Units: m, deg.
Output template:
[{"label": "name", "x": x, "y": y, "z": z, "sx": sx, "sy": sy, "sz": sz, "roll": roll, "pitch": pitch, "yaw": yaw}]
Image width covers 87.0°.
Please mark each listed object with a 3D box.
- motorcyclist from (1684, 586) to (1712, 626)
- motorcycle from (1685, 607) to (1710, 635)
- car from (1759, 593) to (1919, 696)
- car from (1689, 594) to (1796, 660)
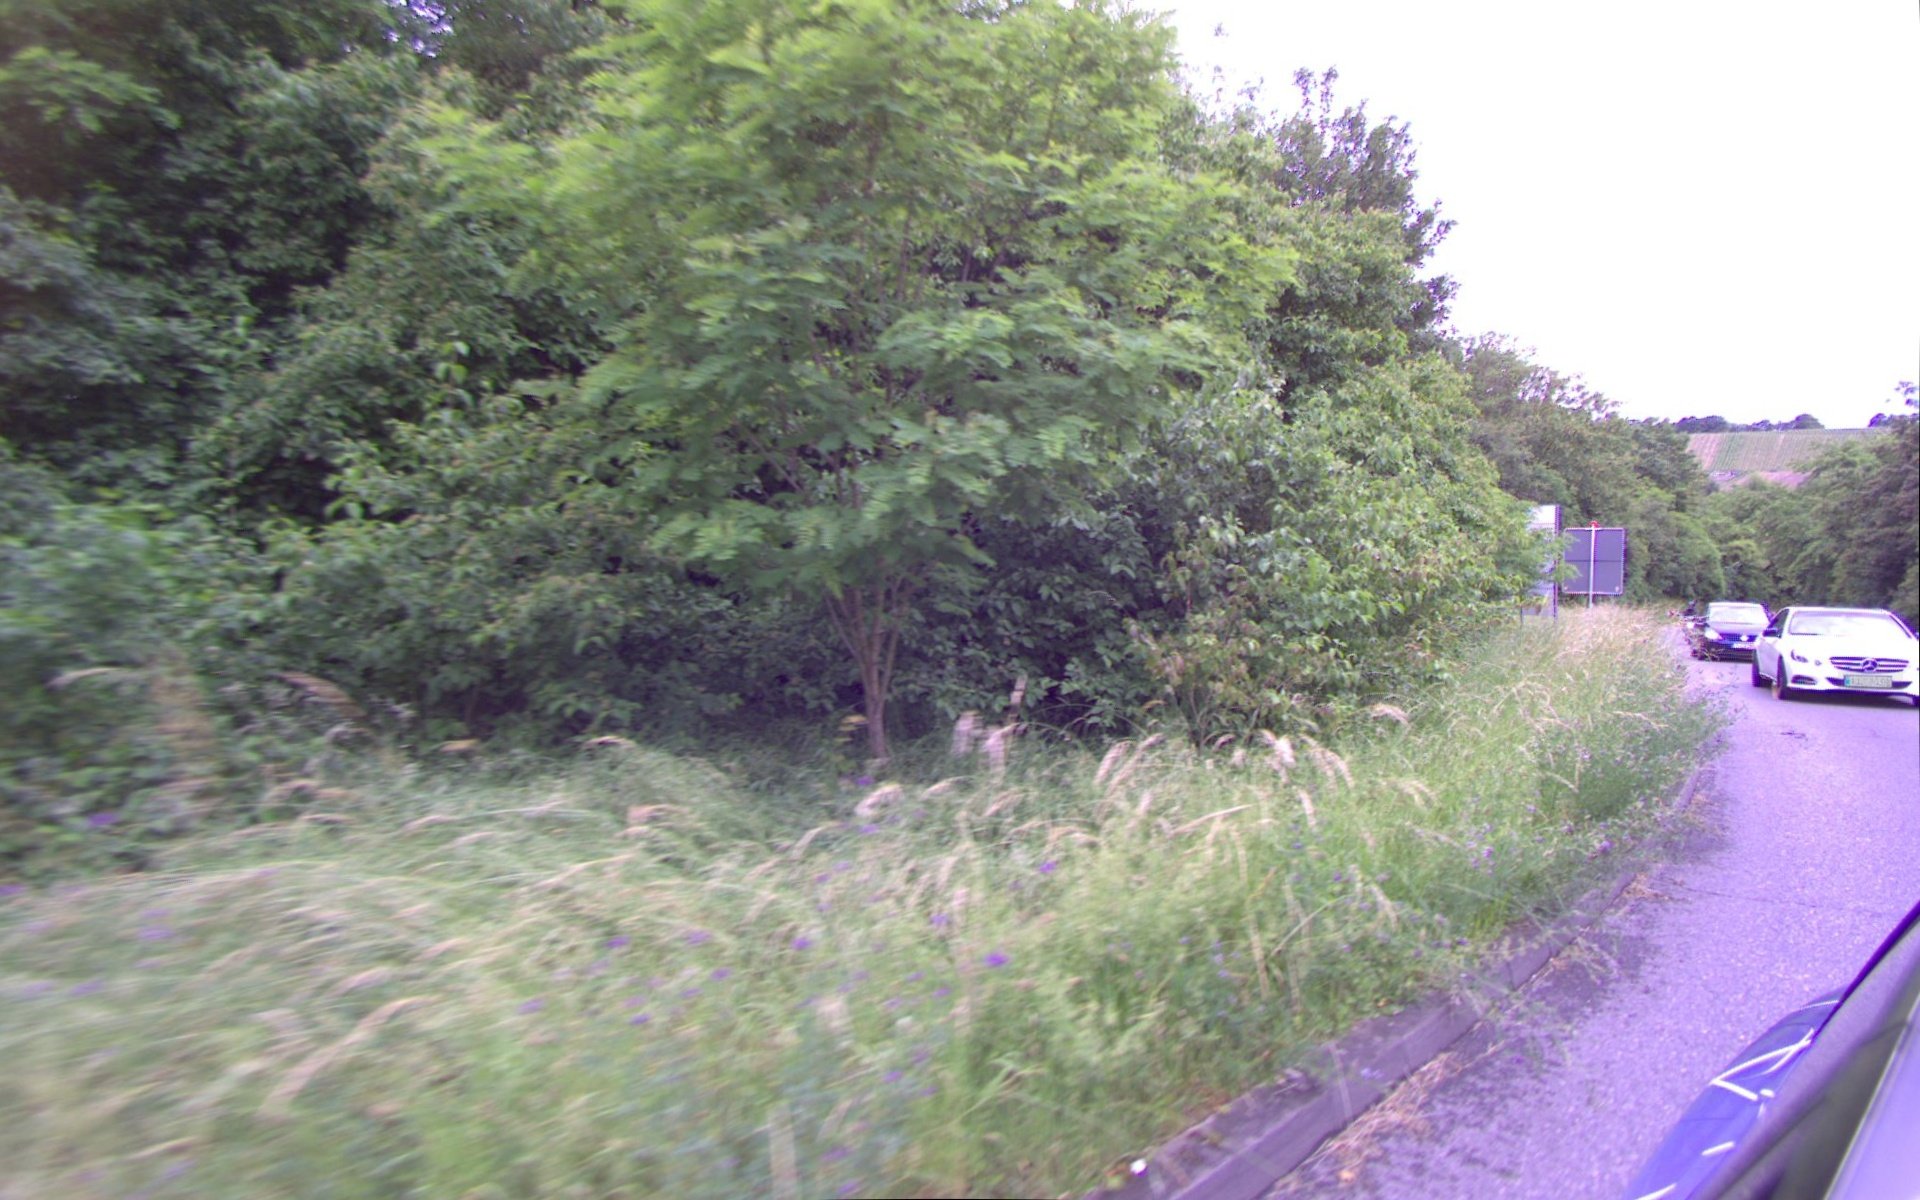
[{"label": "motorcyclist", "x": 28.026, "y": 0.208, "z": 38.454, "sx": 0.814, "sy": 1.484, "sz": 0.777, "roll": 0, "pitch": 0, "yaw": 34}, {"label": "motorcycle", "x": 28.028, "y": 0.782, "z": 38.458, "sx": 0.698, "sy": 0.988, "sz": 1.674, "roll": 0, "pitch": 0, "yaw": 34}, {"label": "car", "x": 14.179, "y": 0.614, "z": 16.162, "sx": 1.875, "sy": 1.440, "sz": 3.952, "roll": 0, "pitch": 0, "yaw": 33}, {"label": "car", "x": 20.784, "y": 0.668, "z": 27.014, "sx": 1.810, "sy": 1.564, "sz": 3.683, "roll": 3, "pitch": 1, "yaw": 32}]
